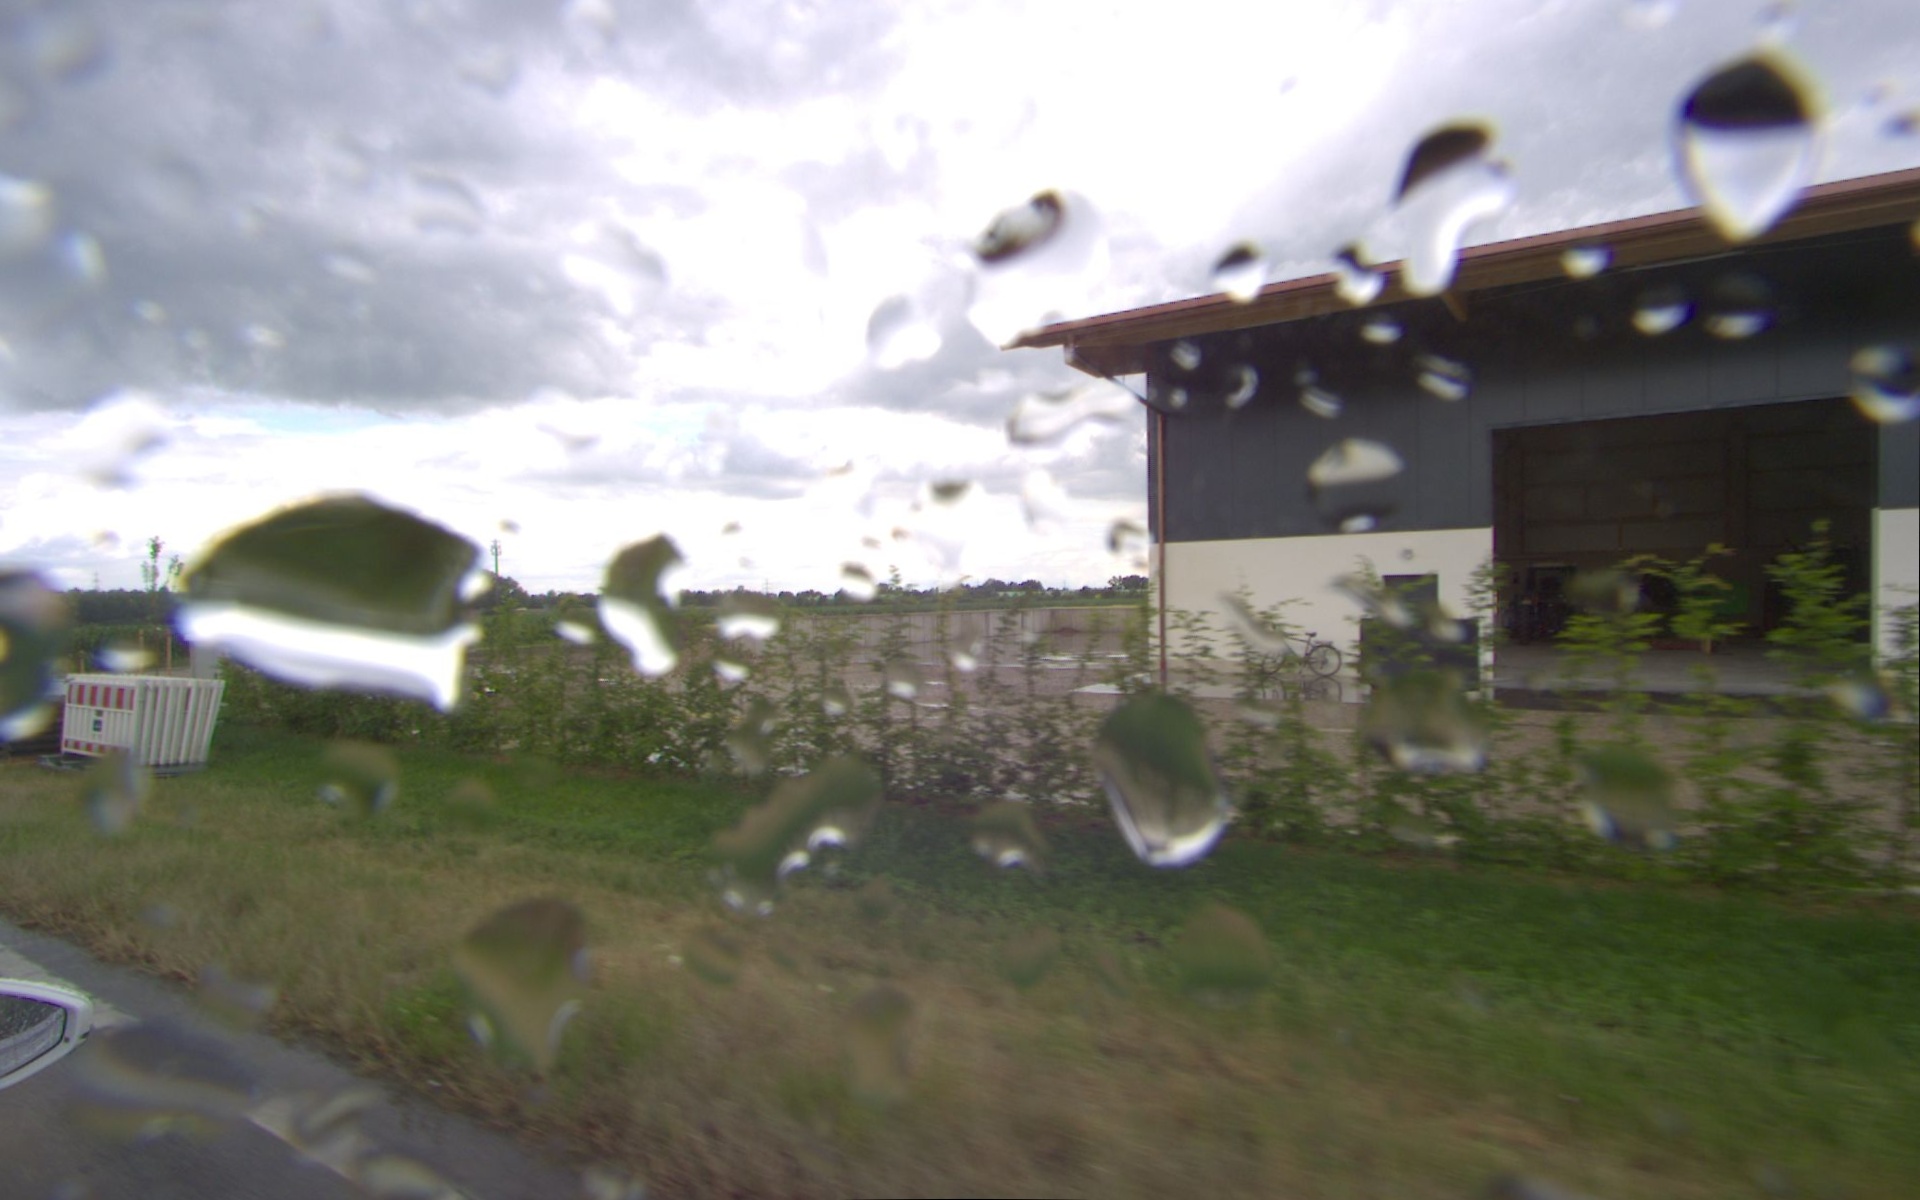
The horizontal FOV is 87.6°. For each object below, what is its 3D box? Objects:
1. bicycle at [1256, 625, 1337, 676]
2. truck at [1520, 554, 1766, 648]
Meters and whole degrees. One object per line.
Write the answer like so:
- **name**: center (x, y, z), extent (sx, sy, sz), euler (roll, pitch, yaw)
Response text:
- **bicycle**: center (7.443, 1.095, 22.170), extent (1.637, 1.086, 0.389), euler (-1, 1, 33)
- **truck**: center (20.770, 0.063, 30.827), extent (6.069, 2.642, 2.112), euler (-1, 0, 33)
